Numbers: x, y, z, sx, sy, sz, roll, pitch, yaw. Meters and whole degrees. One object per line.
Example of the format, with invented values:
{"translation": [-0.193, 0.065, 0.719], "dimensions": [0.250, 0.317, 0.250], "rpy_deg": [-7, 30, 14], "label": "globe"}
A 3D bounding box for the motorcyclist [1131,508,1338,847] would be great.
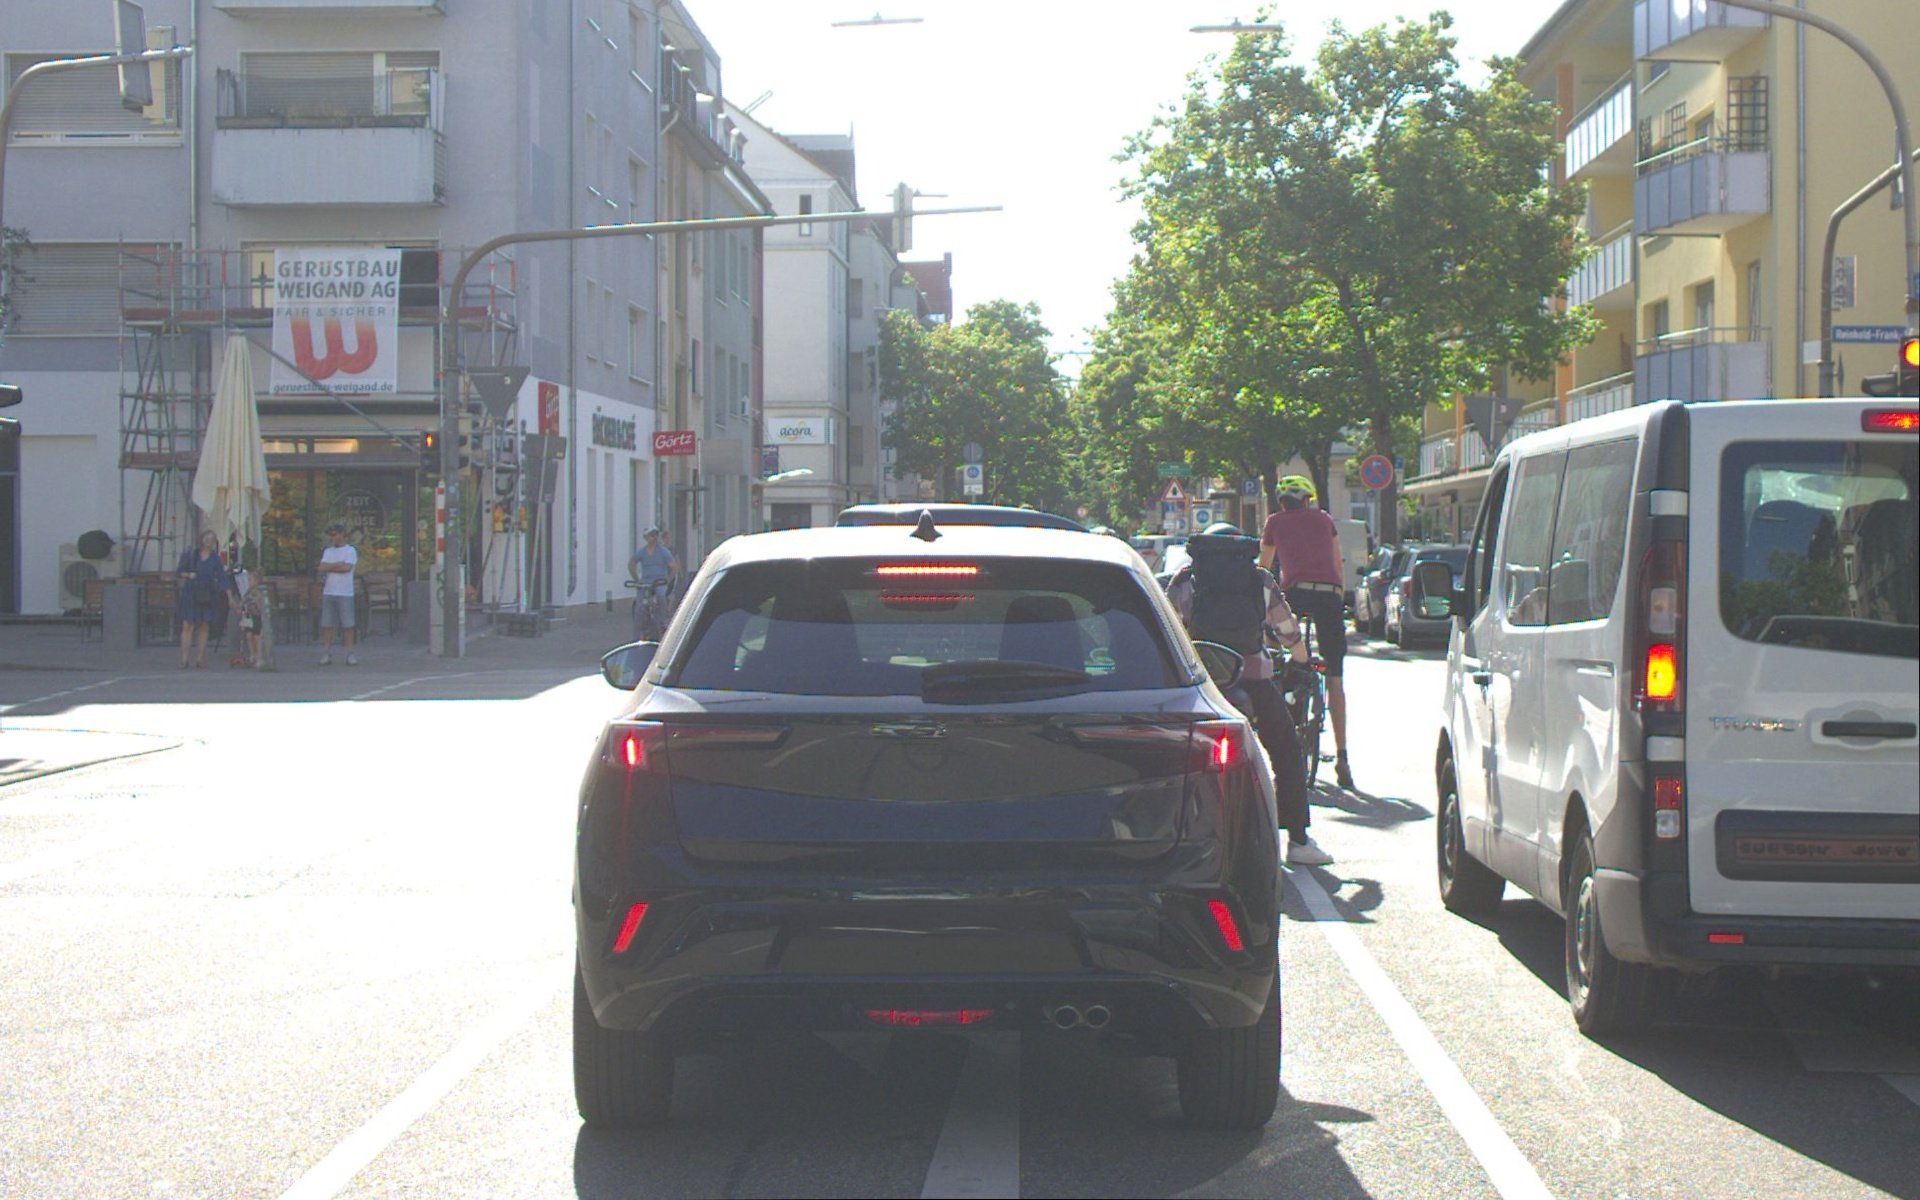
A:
{"translation": [1.240, 0.331, 15.747], "dimensions": [0.864, 1.497, 1.160], "rpy_deg": [0, 1, 1], "label": "motorcyclist"}

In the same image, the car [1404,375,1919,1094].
{"translation": [2.873, 0.346, 12.000], "dimensions": [1.993, 1.972, 4.895], "rpy_deg": [2, 1, 1], "label": "car"}

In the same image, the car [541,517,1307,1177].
{"translation": [-0.090, 0.537, 10.005], "dimensions": [1.770, 1.525, 4.000], "rpy_deg": [1, 1, 0], "label": "car"}

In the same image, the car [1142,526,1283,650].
{"translation": [3.619, -0.206, 49.795], "dimensions": [1.902, 1.722, 4.000], "rpy_deg": [0, 1, 2], "label": "car"}

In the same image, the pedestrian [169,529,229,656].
{"translation": [-9.165, -0.101, 41.418], "dimensions": [0.584, 1.516, 0.649], "rpy_deg": [0, 1, -1], "label": "pedestrian"}

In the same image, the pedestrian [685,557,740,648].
{"translation": [-3.410, 0.029, 47.485], "dimensions": [0.707, 1.249, 0.802], "rpy_deg": [0, 1, 0], "label": "pedestrian"}

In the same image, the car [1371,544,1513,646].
{"translation": [7.050, -0.109, 50.584], "dimensions": [1.634, 1.428, 3.956], "rpy_deg": [0, 1, 2], "label": "car"}

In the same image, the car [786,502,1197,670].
{"translation": [0.357, -0.184, 37.122], "dimensions": [4.060, 1.722, 1.908], "rpy_deg": [-1, 1, -33], "label": "car"}

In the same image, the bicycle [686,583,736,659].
{"translation": [-3.446, 0.276, 47.685], "dimensions": [0.521, 0.989, 2.339], "rpy_deg": [0, 1, 0], "label": "bicycle"}

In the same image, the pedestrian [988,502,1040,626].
{"translation": [0.738, -0.495, 47.214], "dimensions": [0.707, 1.695, 0.802], "rpy_deg": [0, 1, 0], "label": "pedestrian"}

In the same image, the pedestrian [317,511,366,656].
{"translation": [-7.561, -0.205, 42.038], "dimensions": [0.561, 1.769, 0.584], "rpy_deg": [0, 1, -7], "label": "pedestrian"}

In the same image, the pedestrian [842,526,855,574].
{"translation": [-3.856, -1.722, 118.803], "dimensions": [0.402, 1.669, 0.418], "rpy_deg": [0, 1, 2], "label": "pedestrian"}

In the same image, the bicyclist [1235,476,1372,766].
{"translation": [2.082, 0.111, 20.996], "dimensions": [0.689, 1.707, 1.414], "rpy_deg": [0, 1, 0], "label": "bicyclist"}

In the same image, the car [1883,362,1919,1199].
{"translation": [2.831, 0.519, 4.586], "dimensions": [1.836, 1.862, 4.996], "rpy_deg": [2, 1, 0], "label": "car"}

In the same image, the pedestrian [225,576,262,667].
{"translation": [-8.637, 0.256, 41.462], "dimensions": [0.355, 1.088, 0.462], "rpy_deg": [0, 1, -1], "label": "pedestrian"}

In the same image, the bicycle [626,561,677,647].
{"translation": [-4.278, 0.039, 47.776], "dimensions": [0.521, 1.143, 2.284], "rpy_deg": [0, 1, 0], "label": "bicycle"}

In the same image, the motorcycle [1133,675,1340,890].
{"translation": [1.234, 0.804, 15.688], "dimensions": [0.825, 0.842, 1.885], "rpy_deg": [0, 1, 1], "label": "motorcycle"}

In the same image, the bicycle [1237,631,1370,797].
{"translation": [2.093, 0.675, 21.160], "dimensions": [0.577, 0.901, 2.301], "rpy_deg": [0, 1, 0], "label": "bicycle"}

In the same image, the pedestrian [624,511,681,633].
{"translation": [-4.245, -0.392, 47.503], "dimensions": [0.707, 1.672, 0.802], "rpy_deg": [0, 1, 0], "label": "pedestrian"}

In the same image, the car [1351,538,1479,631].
{"translation": [7.292, -0.279, 55.330], "dimensions": [1.634, 1.428, 4.000], "rpy_deg": [0, 1, 2], "label": "car"}
